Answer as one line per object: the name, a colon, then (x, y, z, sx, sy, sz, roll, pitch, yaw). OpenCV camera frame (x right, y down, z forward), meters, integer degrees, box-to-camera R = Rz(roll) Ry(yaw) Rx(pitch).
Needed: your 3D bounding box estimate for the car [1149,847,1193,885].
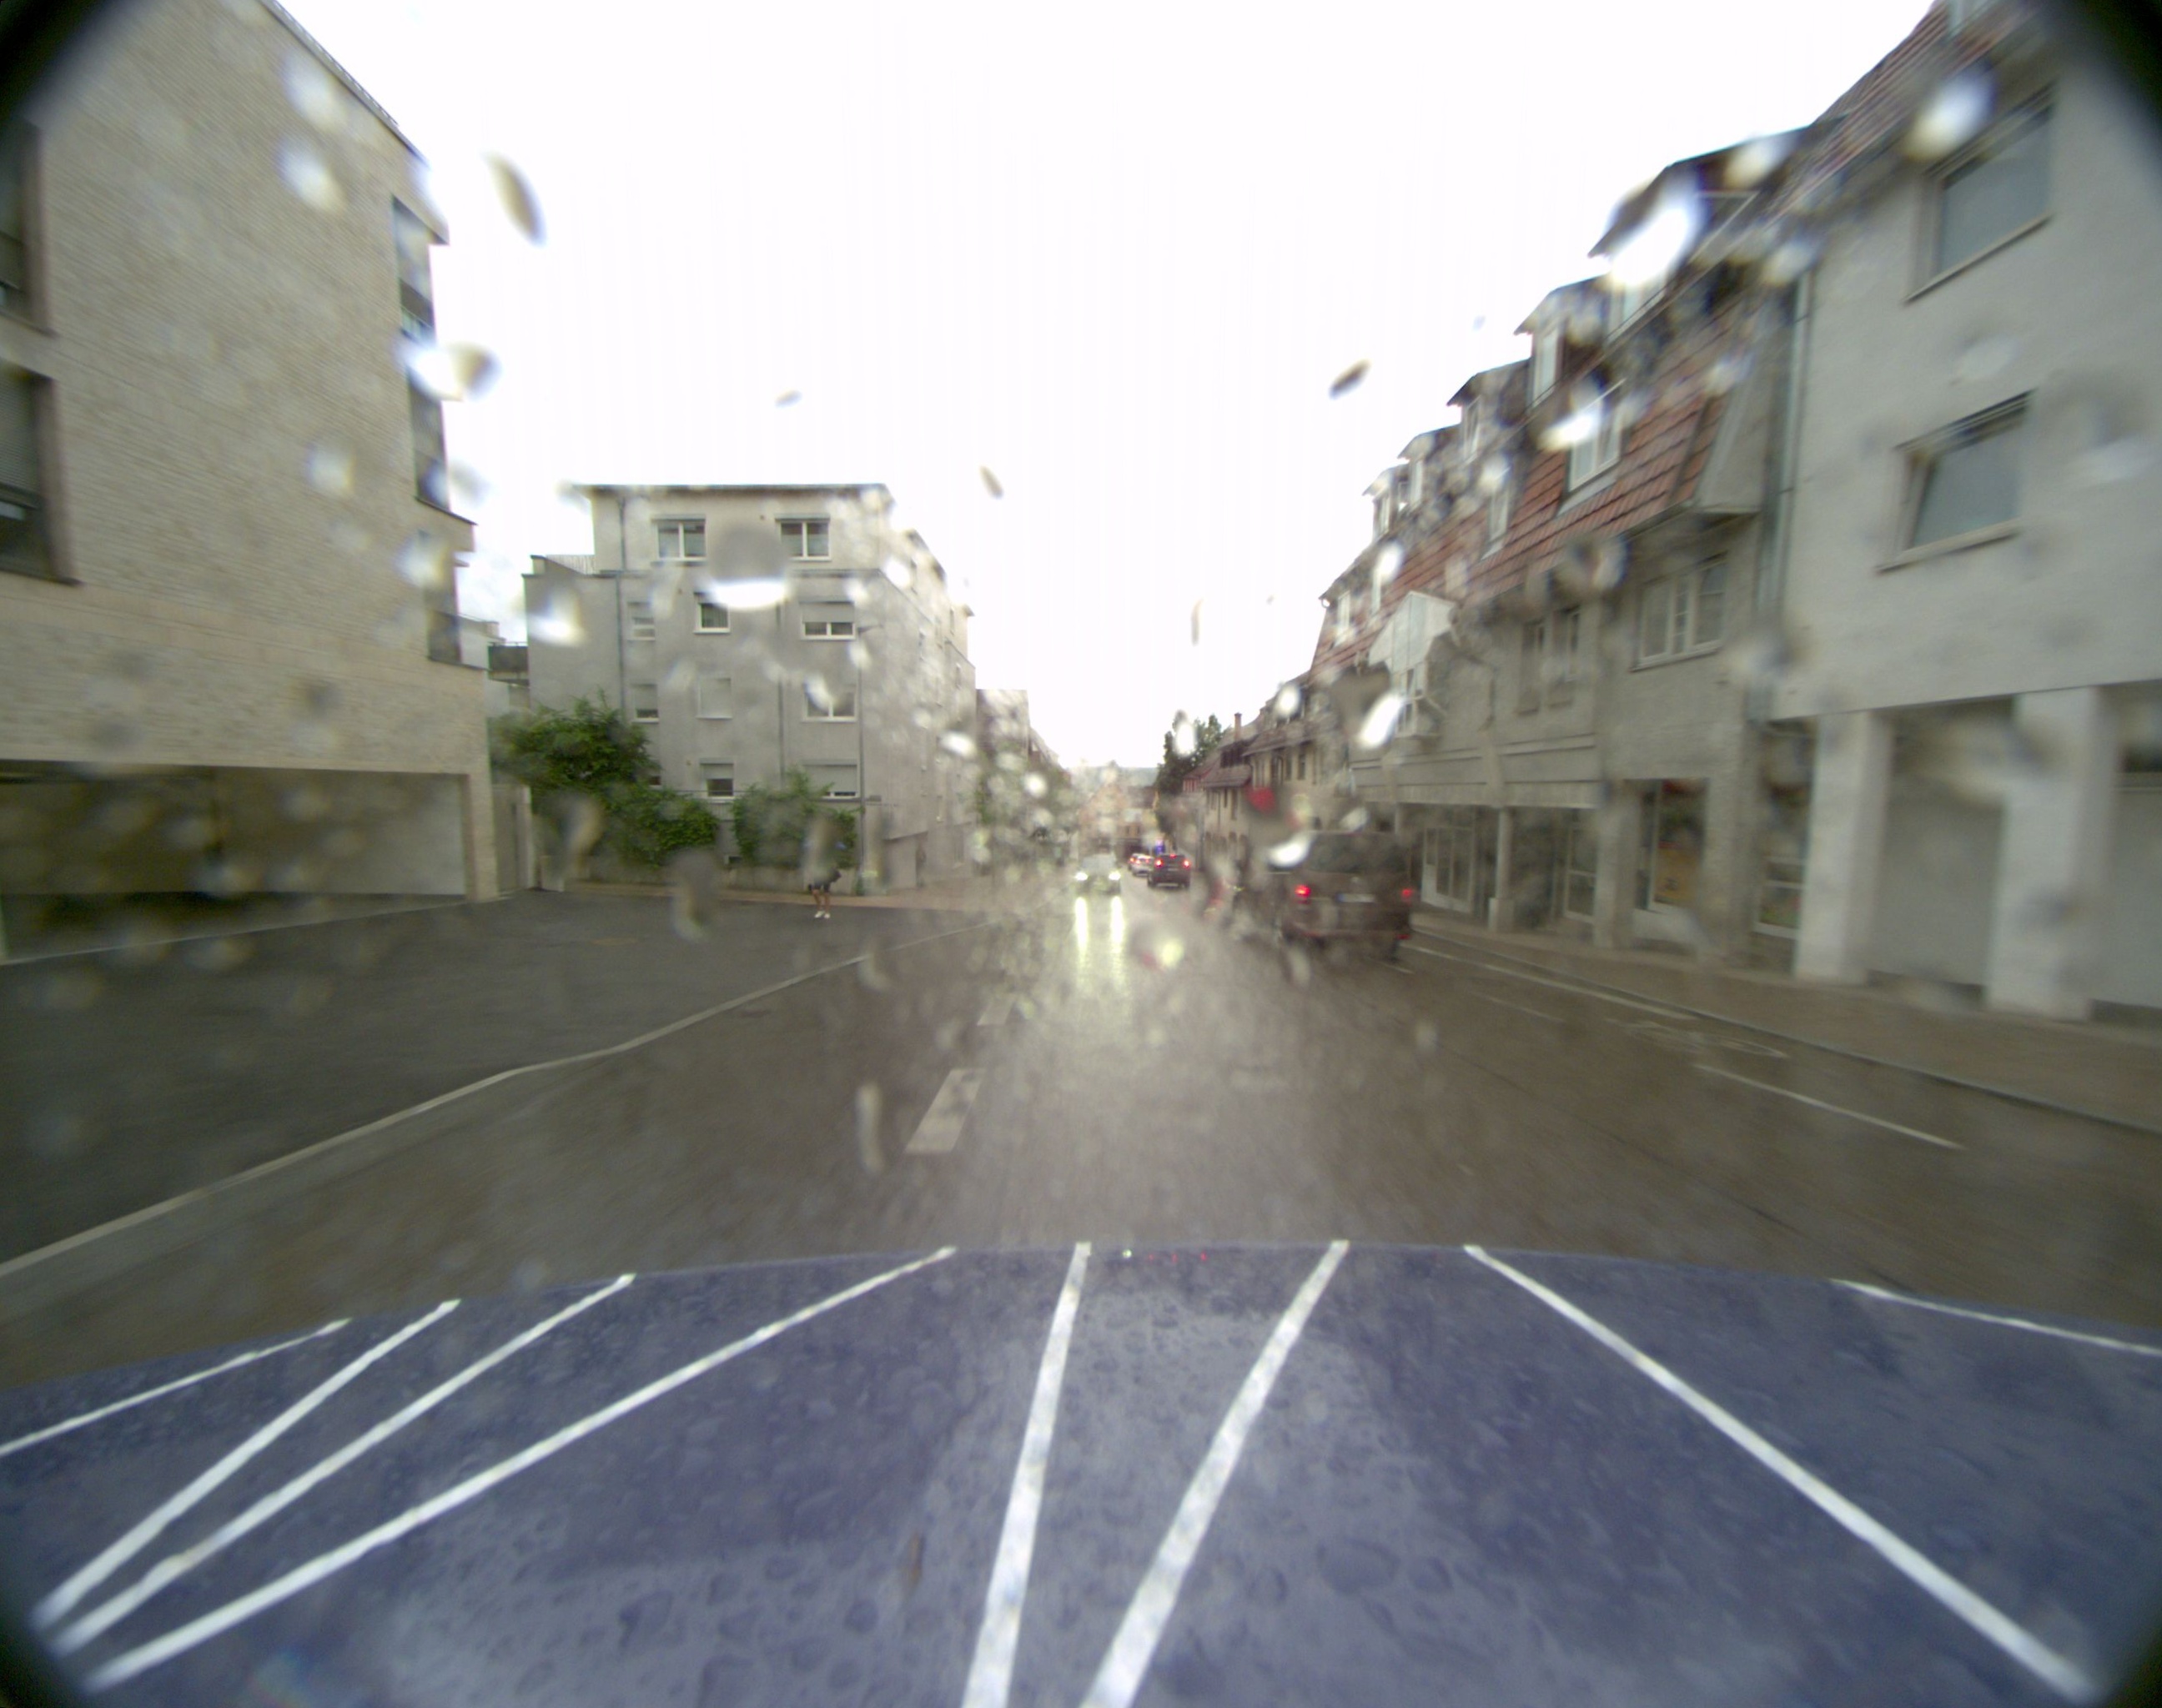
car: (4.321, 0.528, 37.028, 1.786, 1.684, 4.460, 0, 1, 3)

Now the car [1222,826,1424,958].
car: (3.953, 0.518, 13.458, 1.936, 1.896, 5.042, 0, 1, 0)

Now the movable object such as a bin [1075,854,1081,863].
movable object such as a bin: (-0.375, 0.498, 87.612, 0.596, 1.022, 0.476, 2, 1, 4)

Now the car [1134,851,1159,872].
car: (4.696, 0.514, 54.911, 1.681, 1.501, 3.589, 0, 1, 3)

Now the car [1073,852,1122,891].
car: (0.776, 0.700, 33.084, 1.967, 1.549, 4.623, 0, 1, 3)

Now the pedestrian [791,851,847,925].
pedestrian: (-5.807, 0.734, 16.889, 0.737, 1.533, 1.038, 3, 1, 4)

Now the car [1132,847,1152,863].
car: (5.750, 0.074, 71.921, 1.681, 1.501, 3.588, 0, 1, 0)

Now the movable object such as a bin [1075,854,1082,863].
movable object such as a bin: (-0.262, 0.517, 86.767, 0.571, 1.022, 0.467, 2, 1, -38)

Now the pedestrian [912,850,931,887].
pedestrian: (-6.729, 0.592, 32.040, 0.692, 1.547, 0.710, 0, 1, -4)

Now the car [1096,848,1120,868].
car: (2.306, 0.339, 64.744, 1.967, 1.598, 4.385, 0, -1, 3)

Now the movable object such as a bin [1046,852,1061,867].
movable object such as a bin: (-2.516, 0.517, 69.365, 1.237, 1.327, 1.173, 1, 1, 4)
